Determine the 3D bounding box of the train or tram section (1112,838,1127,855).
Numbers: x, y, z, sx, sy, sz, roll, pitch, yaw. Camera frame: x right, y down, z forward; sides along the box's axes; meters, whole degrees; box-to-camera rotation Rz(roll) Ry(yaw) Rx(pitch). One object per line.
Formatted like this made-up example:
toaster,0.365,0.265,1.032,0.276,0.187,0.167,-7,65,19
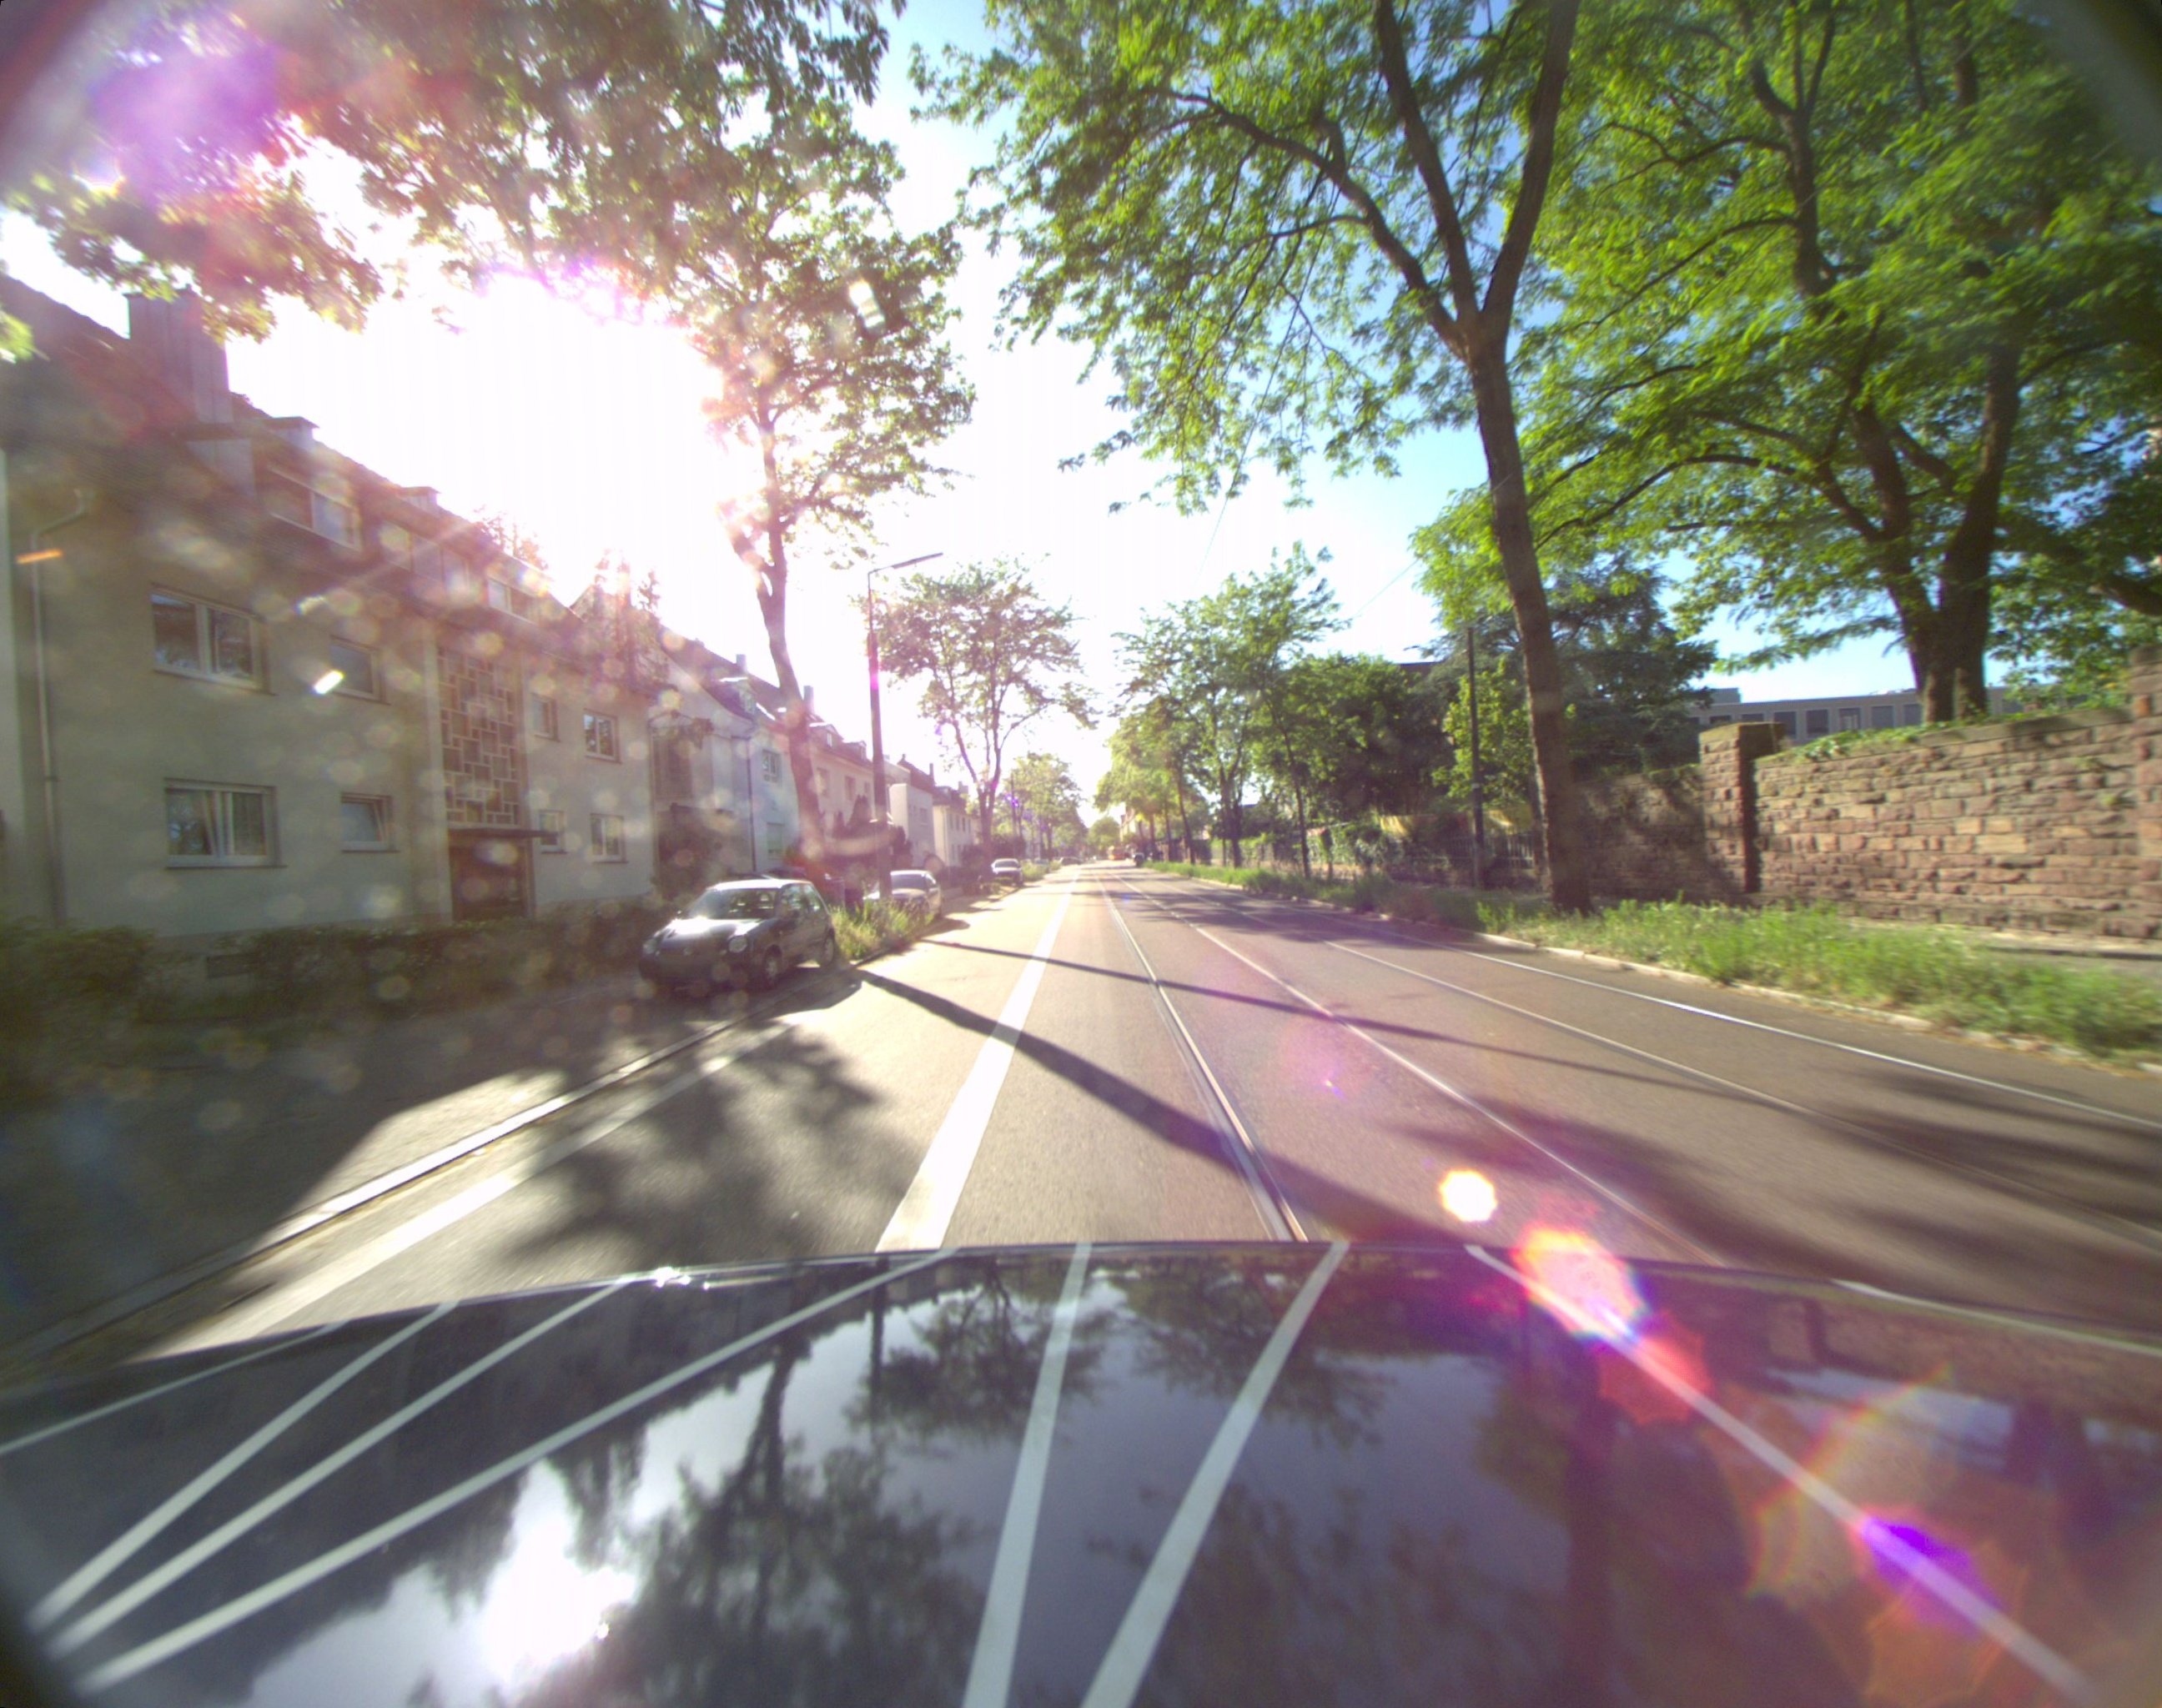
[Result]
train or tram section,8.134,-1.551,160.683,2.811,3.439,6.668,-4,0,1

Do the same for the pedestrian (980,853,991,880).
pedestrian,-6.644,0.888,52.953,0.627,1.859,0.732,0,1,0

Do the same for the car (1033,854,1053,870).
car,-3.931,0.838,79.343,1.753,1.486,3.996,-2,0,0

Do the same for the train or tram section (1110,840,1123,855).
train or tram section,8.427,-1.500,180.745,2.811,3.439,6.668,-4,0,1

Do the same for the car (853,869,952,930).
car,-4.792,1.174,21.003,1.788,1.440,4.300,0,0,-1

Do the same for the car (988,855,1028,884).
car,-4.463,0.929,47.026,1.999,1.694,4.477,0,0,0

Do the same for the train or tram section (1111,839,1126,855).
train or tram section,8.246,-1.538,167.349,2.811,3.439,6.668,-4,0,1

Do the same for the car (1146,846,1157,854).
car,13.792,-0.751,148.267,1.753,1.515,4.035,-4,0,0

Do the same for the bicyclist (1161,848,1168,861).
bicyclist,10.107,0.057,92.157,0.711,1.490,0.956,-5,1,1

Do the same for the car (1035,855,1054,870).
car,-4.081,0.939,85.404,1.753,1.486,4.443,-2,0,0

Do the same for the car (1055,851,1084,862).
car,-1.904,0.384,125.529,4.576,1.515,2.000,-4,1,-1

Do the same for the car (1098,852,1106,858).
car,6.017,0.339,216.707,1.743,1.450,3.691,-3,0,-8

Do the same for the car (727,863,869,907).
car,-10.240,1.121,27.680,4.431,1.481,1.859,-1,0,3

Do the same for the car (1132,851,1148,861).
car,9.690,0.338,124.666,1.751,1.515,4.073,-3,0,14

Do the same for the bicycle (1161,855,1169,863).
bicycle,10.155,0.595,92.171,0.720,0.968,1.888,-5,1,1

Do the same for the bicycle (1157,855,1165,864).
bicycle,9.396,0.662,89.501,0.713,0.955,2.094,-3,0,2

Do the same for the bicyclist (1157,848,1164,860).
bicyclist,9.363,0.005,89.546,0.710,1.462,1.041,-3,1,1

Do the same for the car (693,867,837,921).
car,-9.810,1.221,23.811,3.749,1.481,1.739,-2,0,-5

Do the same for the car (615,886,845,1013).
car,-4.854,1.249,11.104,1.631,1.389,3.645,0,0,0
